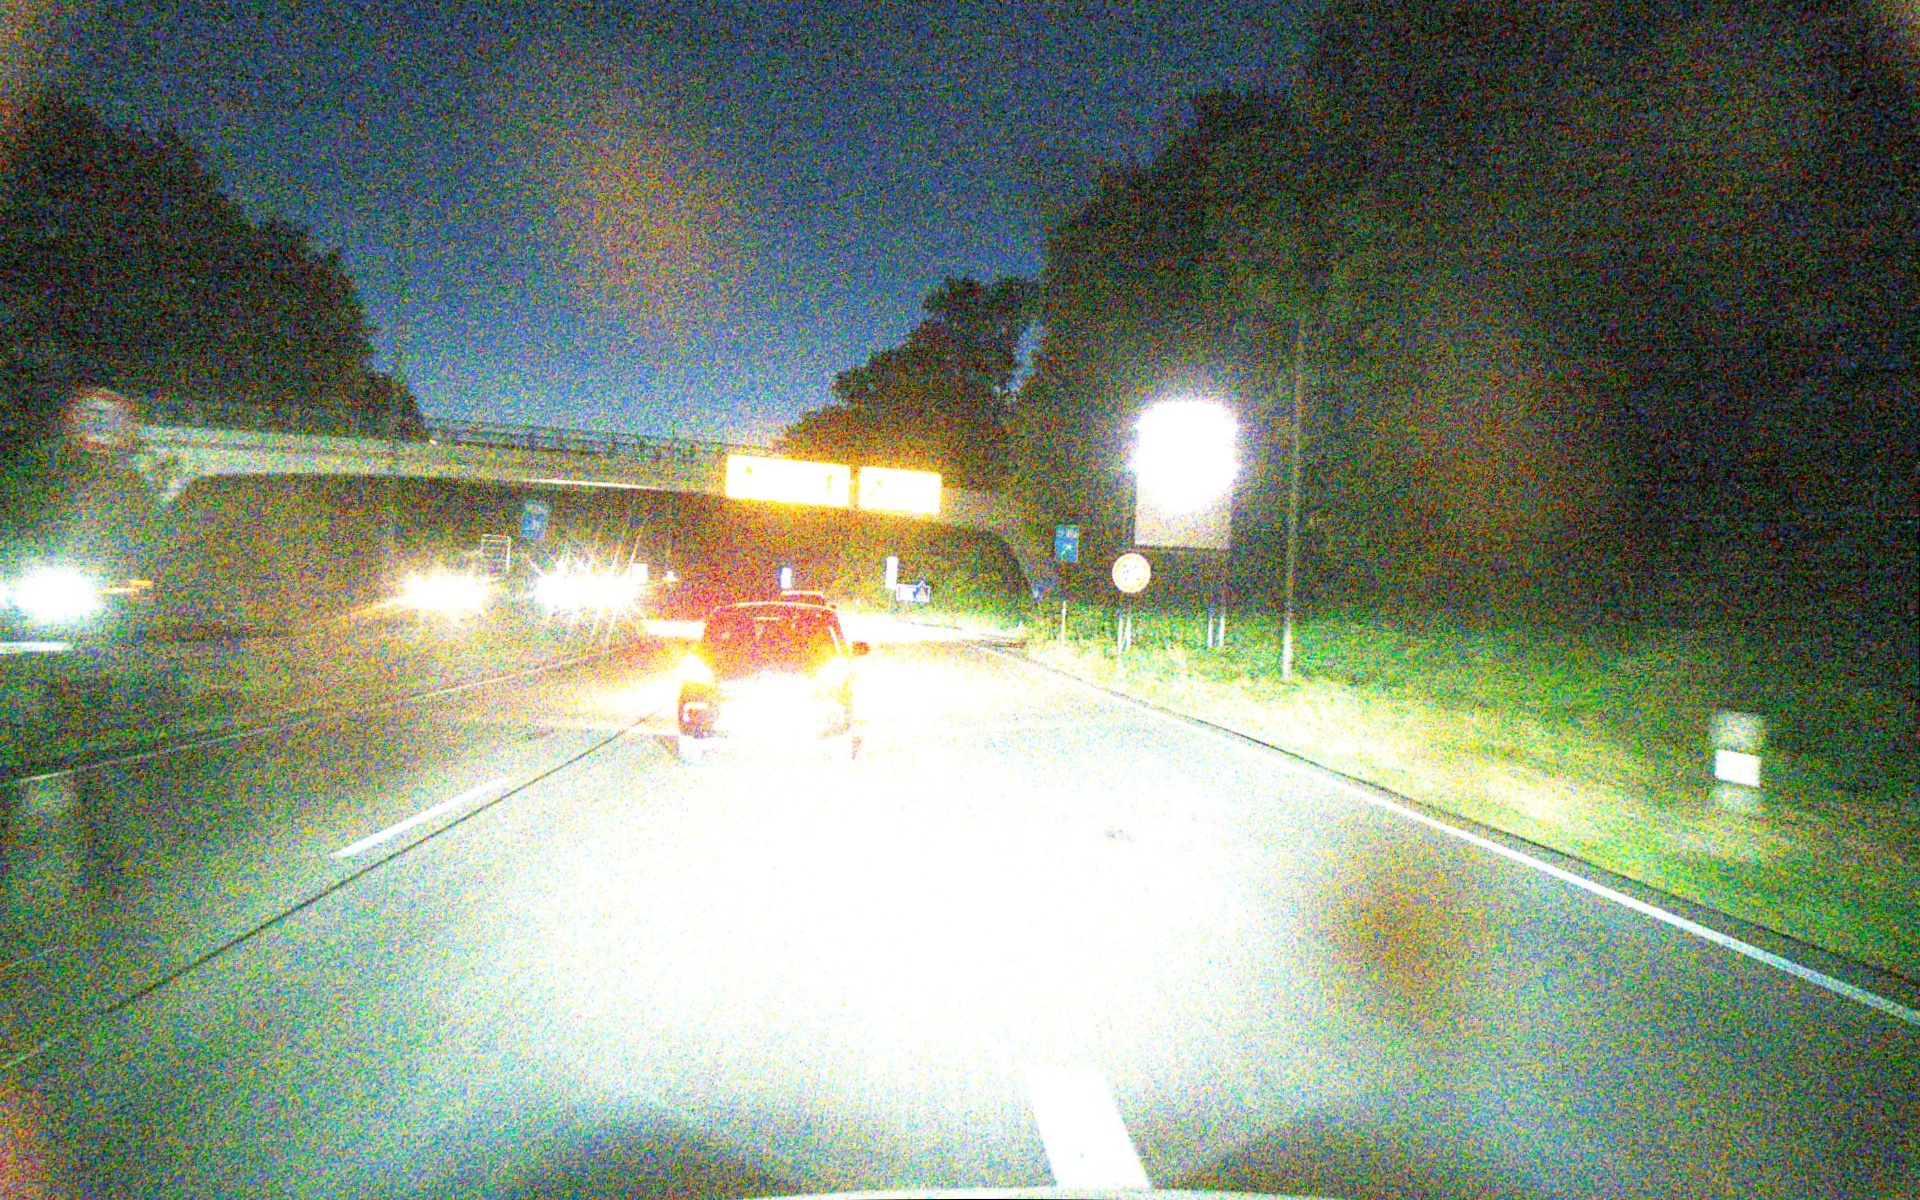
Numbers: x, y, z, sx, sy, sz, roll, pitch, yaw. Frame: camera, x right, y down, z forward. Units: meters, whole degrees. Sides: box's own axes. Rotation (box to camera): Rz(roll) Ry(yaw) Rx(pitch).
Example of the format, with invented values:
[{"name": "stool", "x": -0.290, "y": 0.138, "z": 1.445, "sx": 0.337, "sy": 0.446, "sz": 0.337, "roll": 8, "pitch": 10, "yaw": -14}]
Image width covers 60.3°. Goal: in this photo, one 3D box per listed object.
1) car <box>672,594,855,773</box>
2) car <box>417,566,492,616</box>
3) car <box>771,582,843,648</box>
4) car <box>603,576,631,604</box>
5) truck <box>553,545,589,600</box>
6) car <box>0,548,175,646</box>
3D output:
[{"name": "car", "x": -1.858, "y": 0.720, "z": 16.320, "sx": 1.557, "sy": 1.534, "sz": 3.996, "roll": 1, "pitch": 0, "yaw": -5}, {"name": "car", "x": -22.628, "y": -0.402, "z": 74.196, "sx": 2.317, "sy": 2.049, "sz": 5.024, "roll": 2, "pitch": 0, "yaw": -8}, {"name": "car", "x": -4.445, "y": 0.407, "z": 48.468, "sx": 1.869, "sy": 1.727, "sz": 3.997, "roll": 4, "pitch": 0, "yaw": -4}, {"name": "car", "x": -30.041, "y": -0.848, "z": 145.047, "sx": 1.957, "sy": 2.305, "sz": 3.993, "roll": 5, "pitch": -1, "yaw": -8}, {"name": "truck", "x": -32.923, "y": -2.295, "z": 140.059, "sx": 2.581, "sy": 4.305, "sz": 8.566, "roll": 5, "pitch": -1, "yaw": -13}, {"name": "car", "x": -18.031, "y": -0.080, "z": 33.665, "sx": 1.928, "sy": 1.794, "sz": 5.028, "roll": 2, "pitch": 0, "yaw": -4}]
